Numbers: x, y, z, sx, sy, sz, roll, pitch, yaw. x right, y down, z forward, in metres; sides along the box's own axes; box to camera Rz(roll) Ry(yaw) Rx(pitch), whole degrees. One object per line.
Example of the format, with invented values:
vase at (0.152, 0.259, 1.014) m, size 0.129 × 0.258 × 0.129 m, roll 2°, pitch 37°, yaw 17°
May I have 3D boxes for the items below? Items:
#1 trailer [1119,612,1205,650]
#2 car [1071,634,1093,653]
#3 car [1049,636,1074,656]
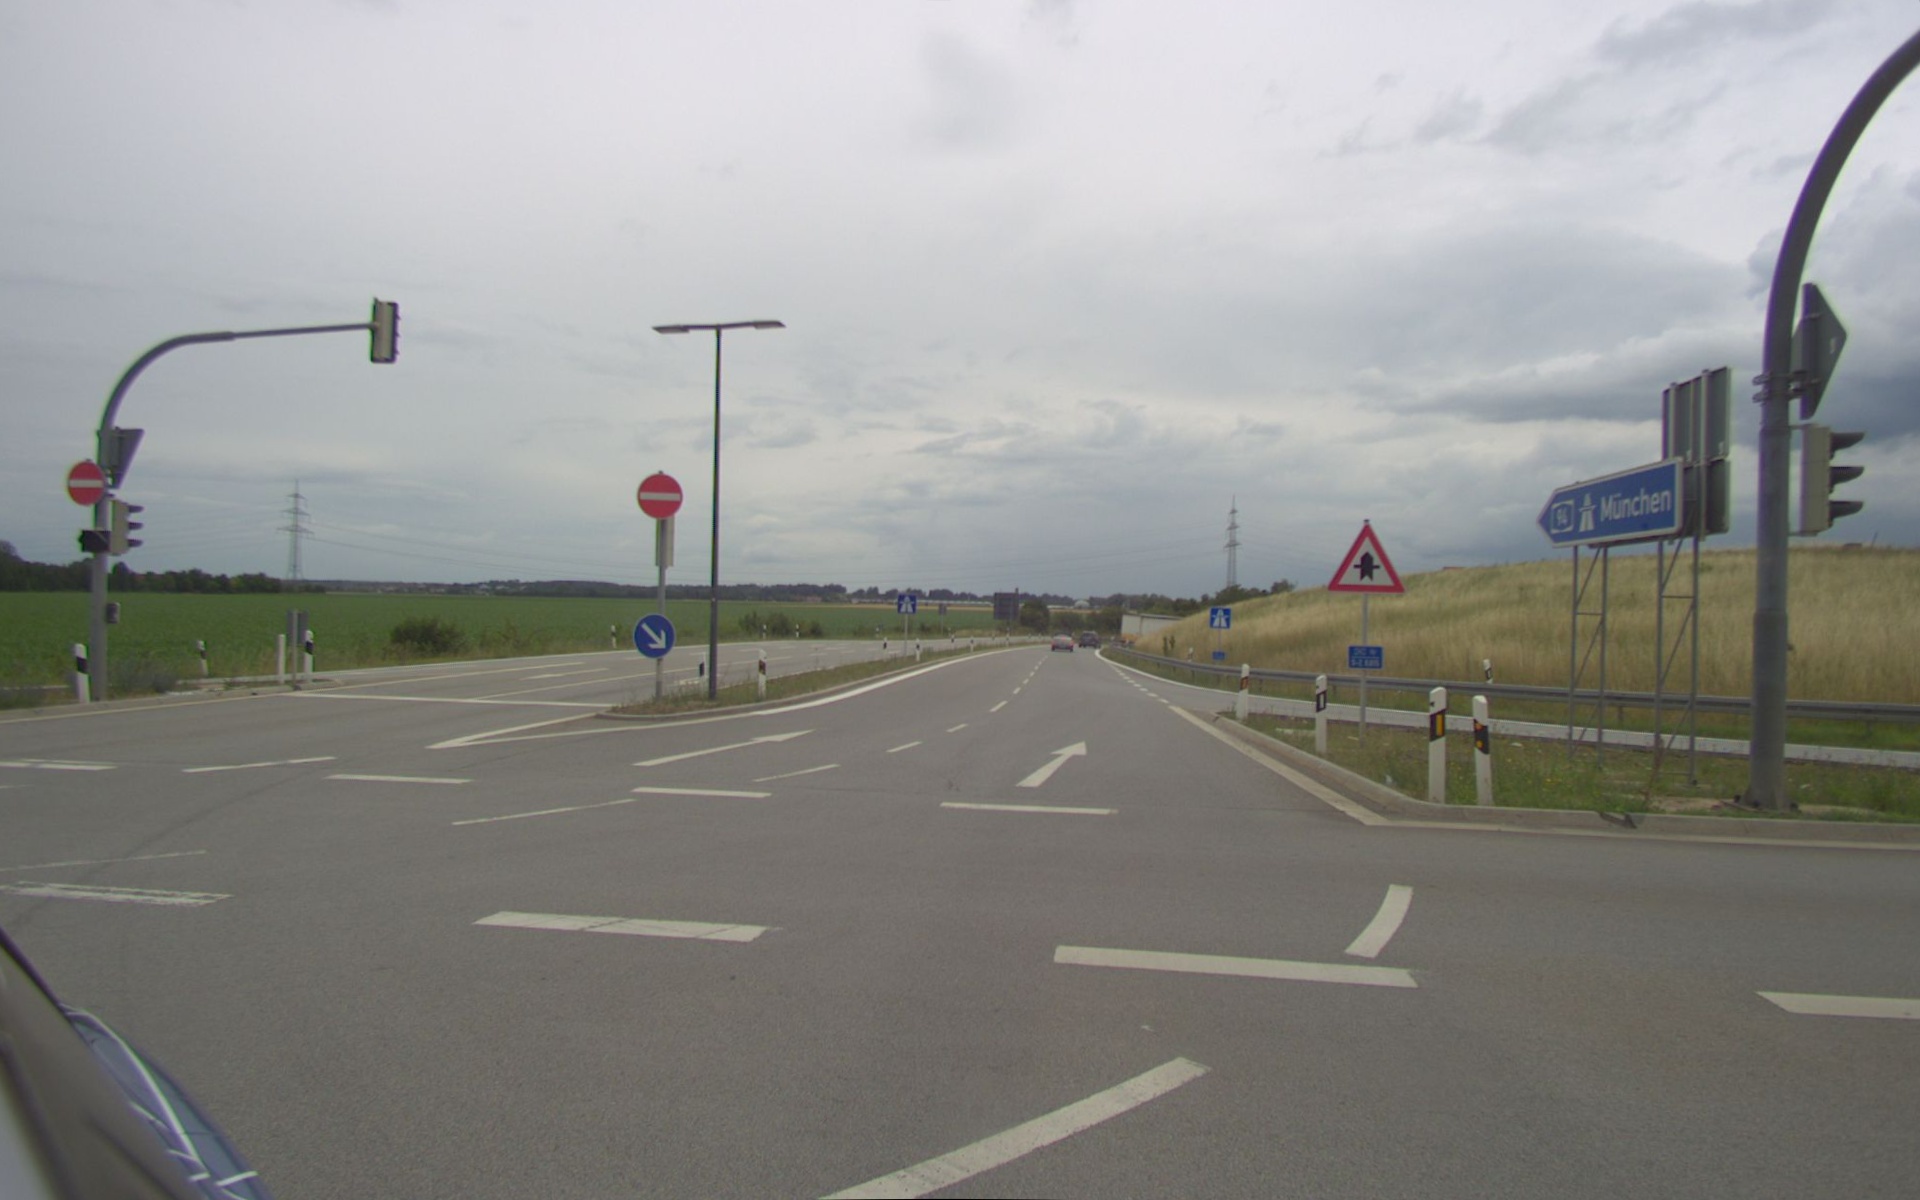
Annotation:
trailer at (24.004, 3.700, 119.482) m, size 13.636 × 4.242 × 2.702 m, roll 2°, pitch -1°, yaw -45°
car at (12.256, 4.352, 102.099) m, size 1.974 × 1.707 × 4.449 m, roll 1°, pitch -1°, yaw 4°
car at (8.027, 3.646, 80.130) m, size 1.793 × 1.532 × 4.236 m, roll 1°, pitch -2°, yaw 4°
